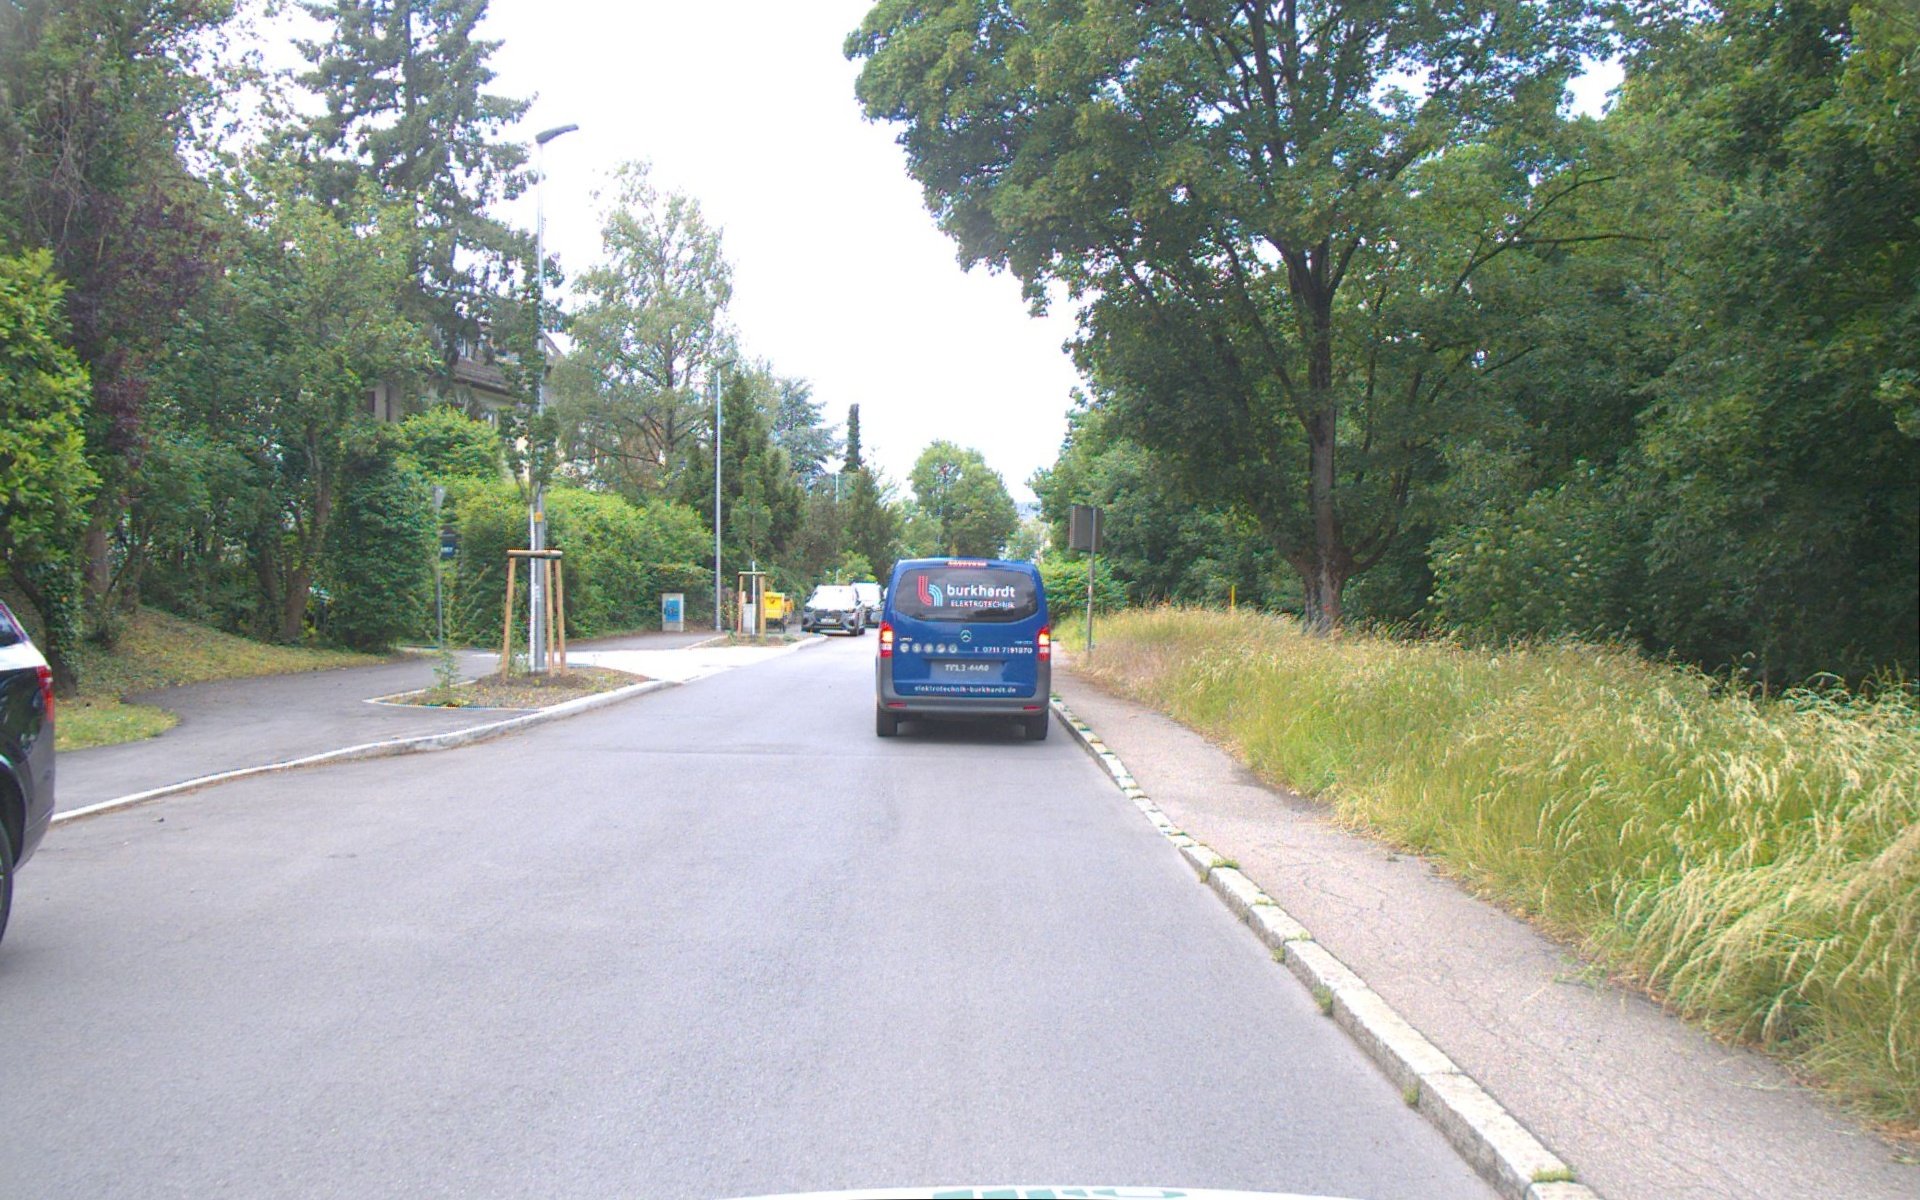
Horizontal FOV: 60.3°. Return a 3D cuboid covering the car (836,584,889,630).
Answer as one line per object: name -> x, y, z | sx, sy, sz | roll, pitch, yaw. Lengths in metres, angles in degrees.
car -> -4.019, 0.273, 68.759 | 1.794, 1.782, 4.001 | 2, 1, 1

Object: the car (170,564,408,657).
car -> -13.293, 0.204, 32.916 | 3.904, 1.621, 1.869 | 3, 0, 2

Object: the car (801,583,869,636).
car -> -4.175, 0.313, 55.856 | 1.798, 1.659, 4.301 | 2, 0, 1

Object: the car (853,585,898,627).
car -> -3.801, 0.288, 74.925 | 1.794, 1.836, 4.000 | 1, -1, 0

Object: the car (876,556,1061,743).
car -> -0.006, 0.475, 18.641 | 1.851, 1.876, 3.998 | 0, 1, -3

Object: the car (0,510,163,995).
car -> -4.476, 0.543, 4.581 | 1.934, 1.767, 5.190 | 1, 0, 1

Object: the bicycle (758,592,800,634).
bicycle -> -5.783, 0.409, 52.939 | 0.887, 1.273, 2.916 | 3, 0, 1
